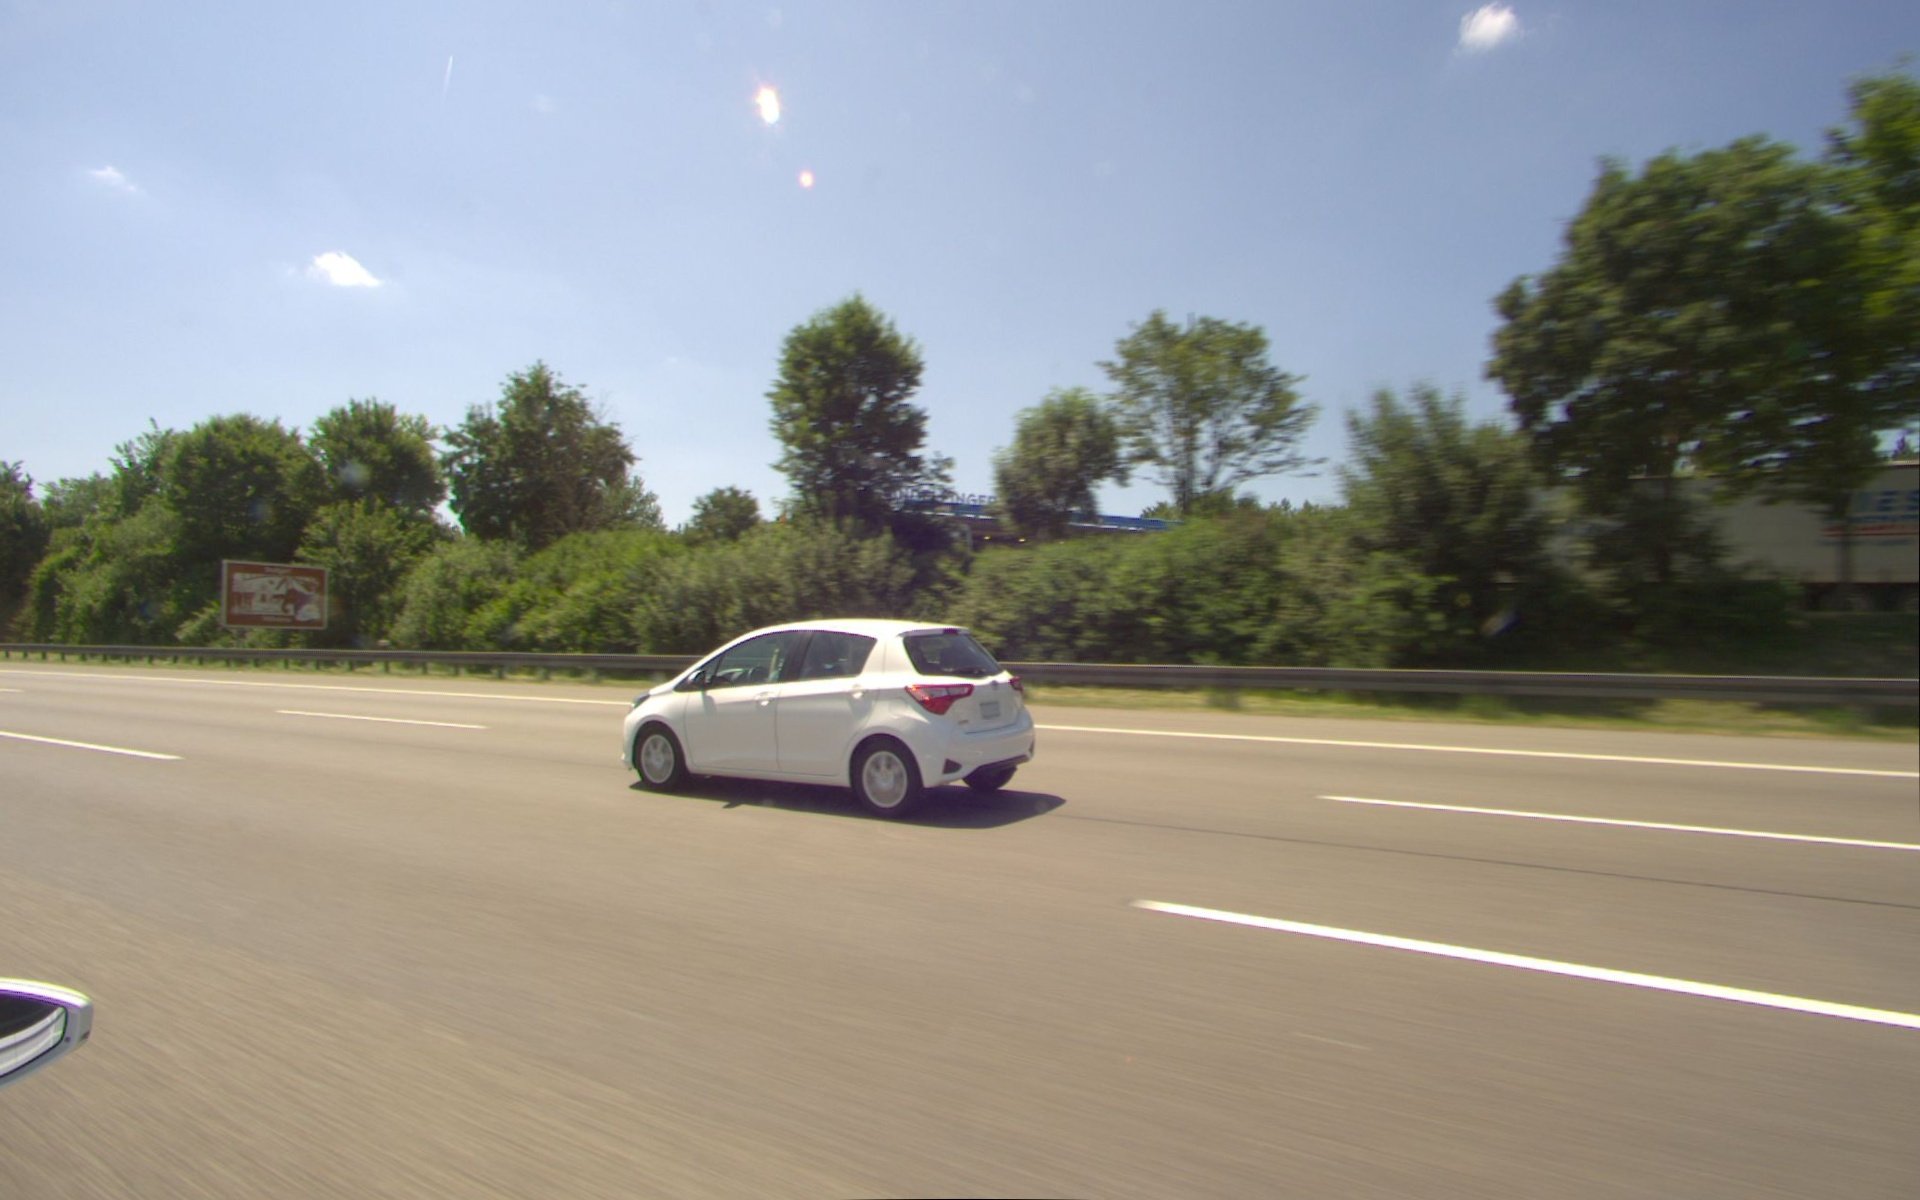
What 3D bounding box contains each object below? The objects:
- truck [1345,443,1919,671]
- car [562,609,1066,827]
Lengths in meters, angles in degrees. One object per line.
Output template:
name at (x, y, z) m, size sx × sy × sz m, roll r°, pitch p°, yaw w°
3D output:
truck at (19.546, -0.920, 27.839) m, size 16.156 × 5.388 × 3.513 m, roll 0°, pitch -2°, yaw 33°
car at (-1.423, 0.894, 9.000) m, size 4.419 × 1.538 × 1.747 m, roll -1°, pitch -2°, yaw 32°
